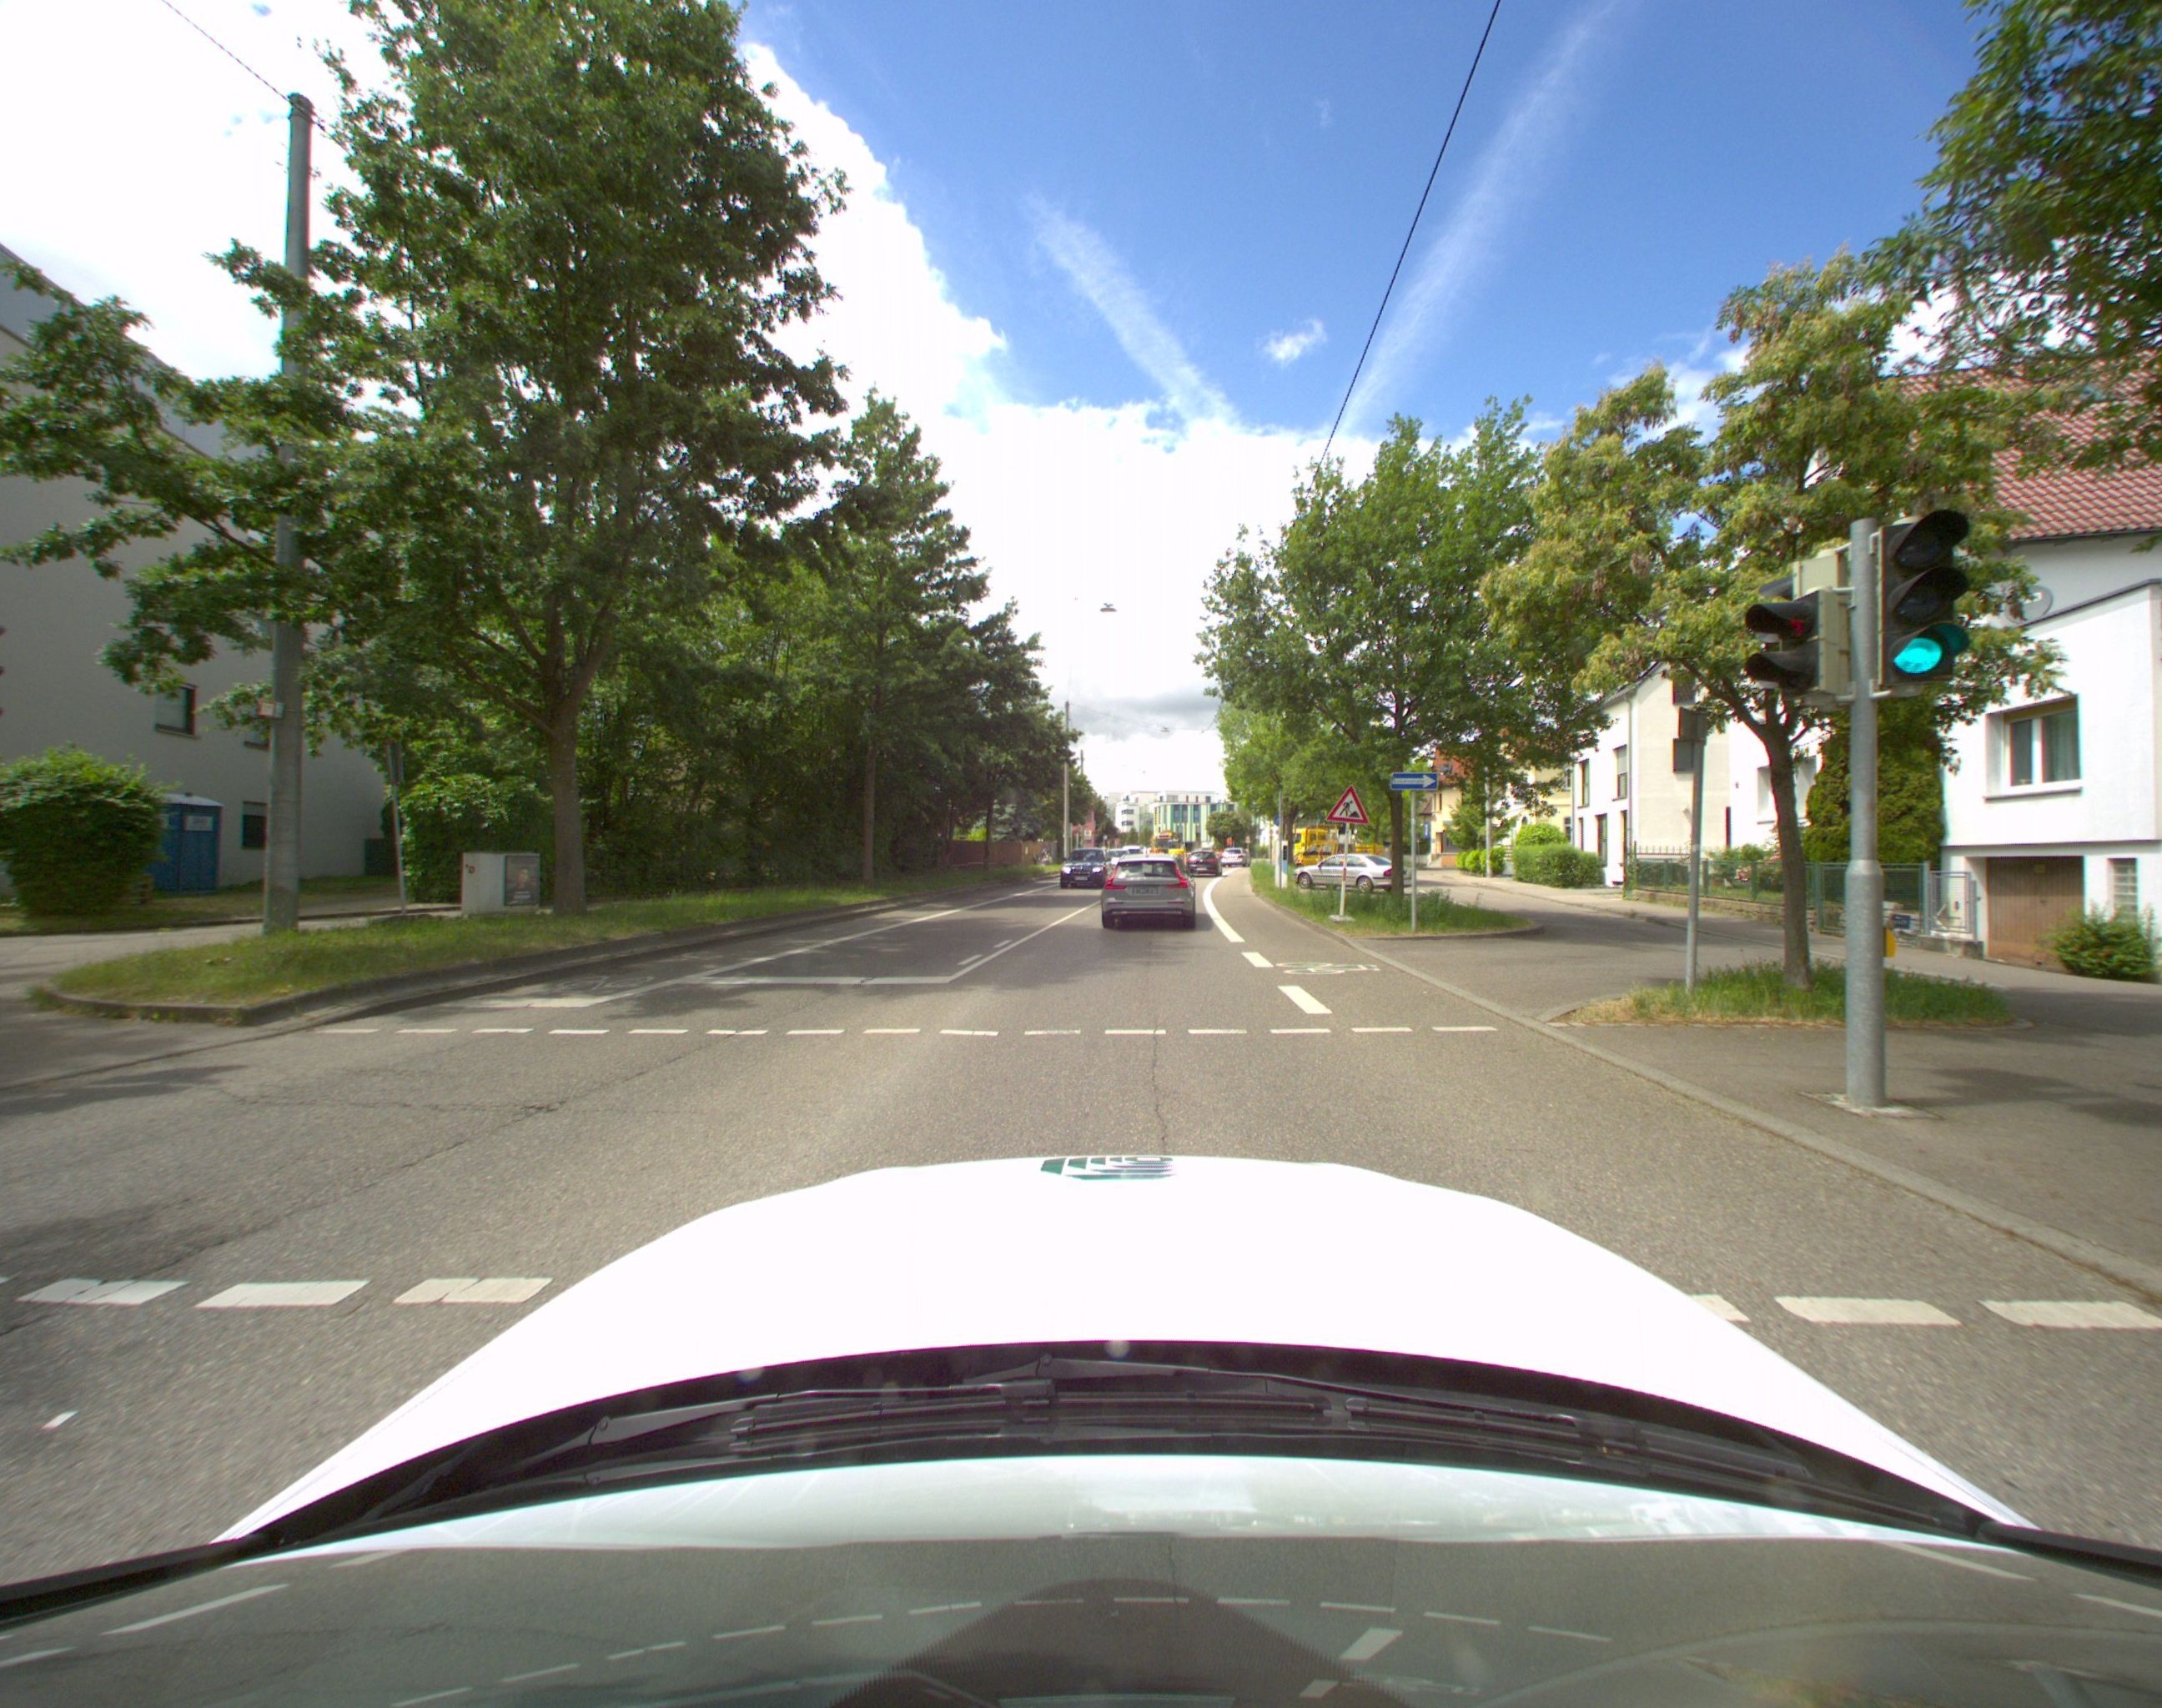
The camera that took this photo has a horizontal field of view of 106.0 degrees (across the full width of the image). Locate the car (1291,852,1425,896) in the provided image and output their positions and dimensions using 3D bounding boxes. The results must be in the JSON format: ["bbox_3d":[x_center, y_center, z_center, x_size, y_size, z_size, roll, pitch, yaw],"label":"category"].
[{"bbox_3d":[10.349,0.701,30.752,1.776,1.451,4.638,1,0,-36],"label":"car"}]

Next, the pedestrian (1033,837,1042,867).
[{"bbox_3d":[-2.920,-0.114,54.797,0.400,2.014,0.415,3,-1,9],"label":"pedestrian"}]

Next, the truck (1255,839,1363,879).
[{"bbox_3d":[12.715,0.267,45.726,2.010,2.014,5.611,4,-1,-40],"label":"truck"}]

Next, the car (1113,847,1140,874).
[{"bbox_3d":[2.938,0.416,51.924,1.700,1.618,4.004,0,-1,4],"label":"car"}]

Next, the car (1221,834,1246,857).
[{"bbox_3d":[14.458,-0.789,77.143,1.979,2.014,4.015,3,-1,14],"label":"car"}]

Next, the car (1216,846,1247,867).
[{"bbox_3d":[11.736,0.213,63.628,2.091,1.510,4.007,3,-1,6],"label":"car"}]

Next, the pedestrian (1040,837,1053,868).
[{"bbox_3d":[-2.299,-0.082,54.277,0.711,2.014,0.772,3,-1,5],"label":"pedestrian"}]

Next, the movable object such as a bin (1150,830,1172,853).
[{"bbox_3d":[10.681,-1.643,109.238,2.303,2.990,6.424,0,0,-1],"label":"movable object such as a bin"}]

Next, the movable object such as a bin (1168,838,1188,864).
[{"bbox_3d":[10.188,-0.302,85.706,2.023,2.643,5.952,0,0,7],"label":"movable object such as a bin"}]

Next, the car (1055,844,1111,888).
[{"bbox_3d":[0.164,0.467,34.126,1.870,1.687,4.254,-1,0,6],"label":"car"}]

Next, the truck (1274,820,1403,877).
[{"bbox_3d":[14.916,-0.349,47.604,2.783,3.008,6.631,4,-1,-38],"label":"truck"}]

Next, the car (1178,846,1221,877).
[{"bbox_3d":[6.358,0.426,44.101,1.657,1.508,3.700,3,-1,-2],"label":"car"}]

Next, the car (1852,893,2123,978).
[{"bbox_3d":[15.663,1.329,14.374,1.450,1.124,3.889,3,-1,18],"label":"car"}]

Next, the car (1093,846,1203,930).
[{"bbox_3d":[1.544,0.645,17.250,1.916,1.540,4.011,-1,0,10],"label":"car"}]

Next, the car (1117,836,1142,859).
[{"bbox_3d":[4.292,-0.529,72.464,1.842,1.875,4.593,5,-1,0],"label":"car"}]
